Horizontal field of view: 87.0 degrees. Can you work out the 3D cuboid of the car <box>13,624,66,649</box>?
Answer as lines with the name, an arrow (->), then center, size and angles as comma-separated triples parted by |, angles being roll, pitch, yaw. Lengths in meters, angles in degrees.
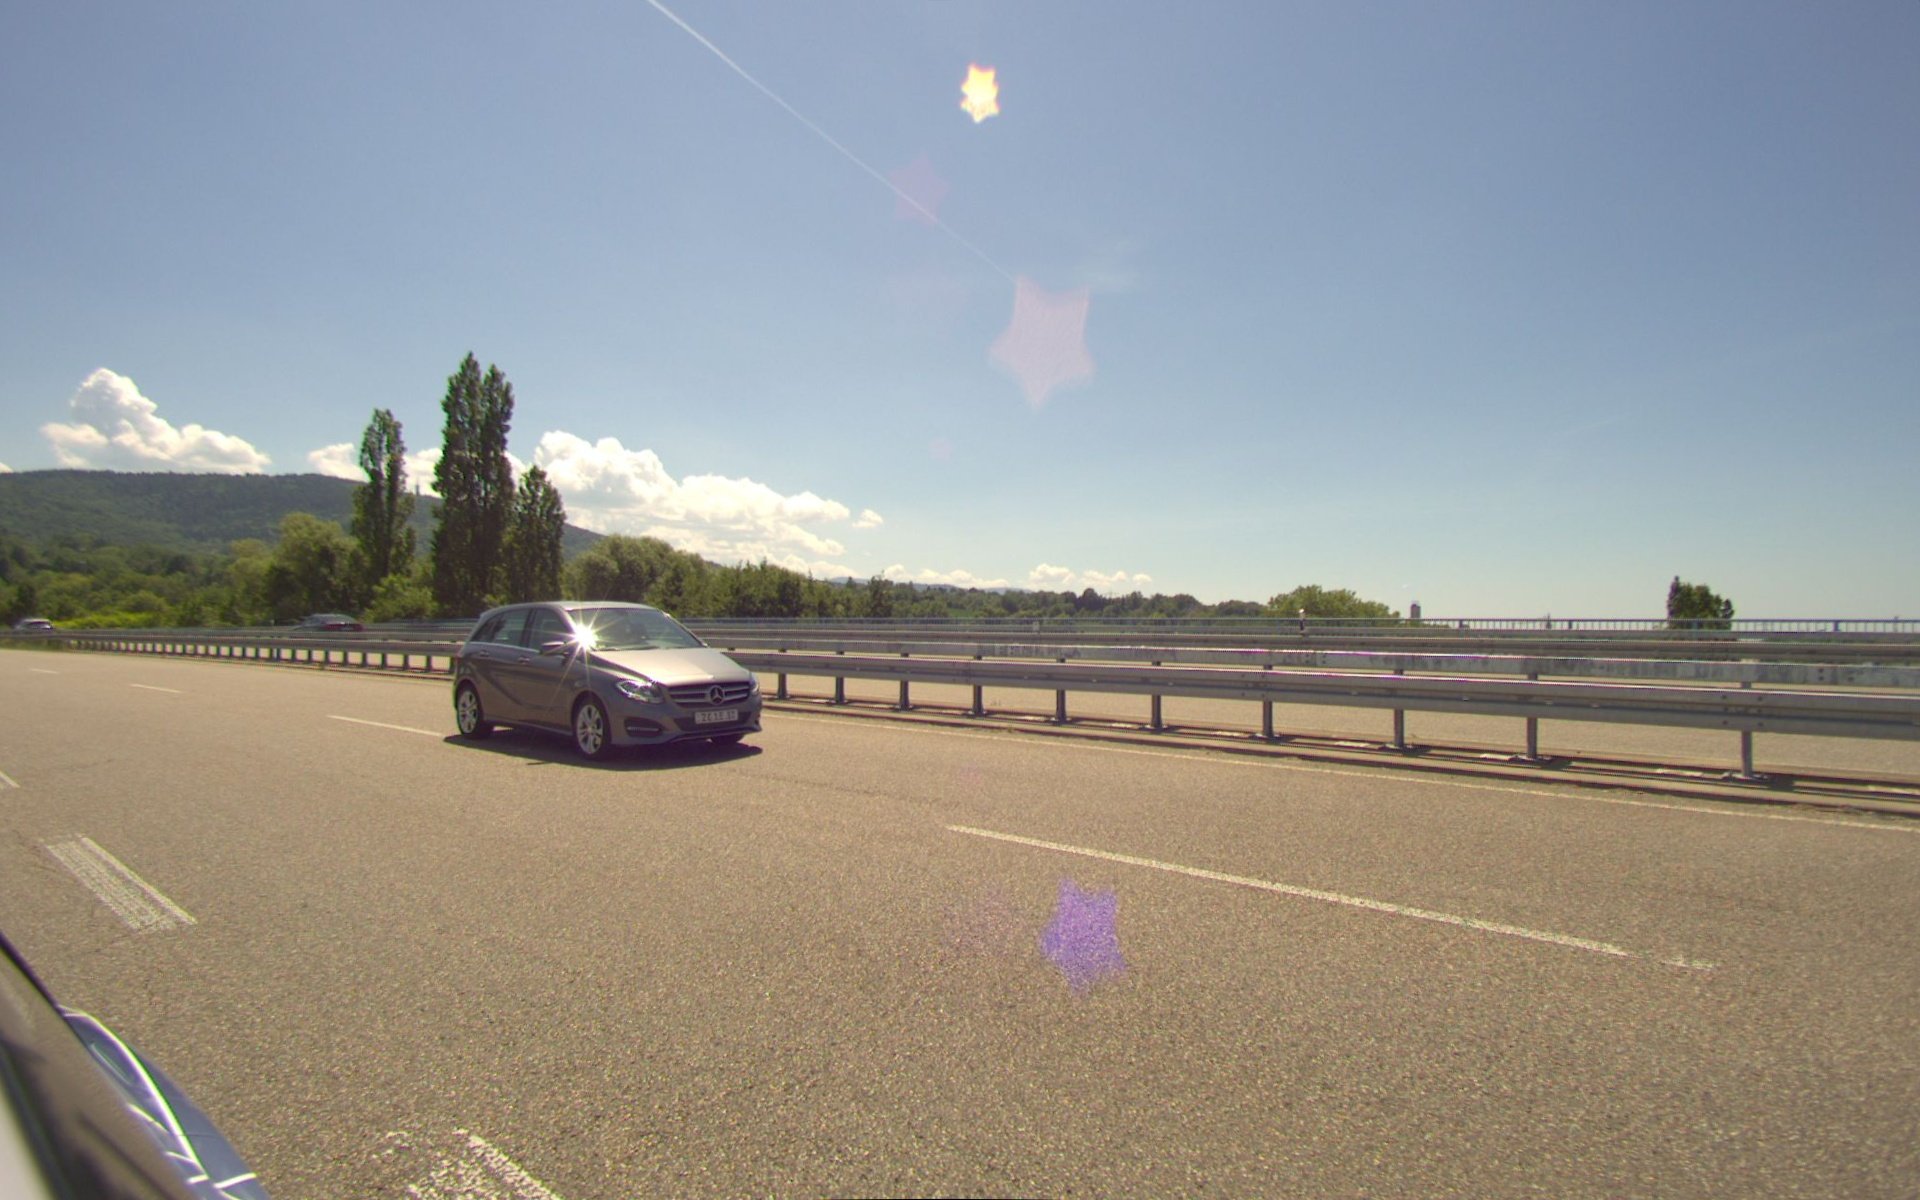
car -> -60.307, 2.369, 66.292 | 4.679, 1.516, 1.886 | -2, -1, 39

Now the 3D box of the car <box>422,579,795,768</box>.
car -> -4.016, 0.686, 11.160 | 4.550, 1.680, 1.775 | -1, 0, 39

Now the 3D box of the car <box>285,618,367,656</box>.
car -> -29.956, 1.698, 47.750 | 5.046, 1.680, 1.825 | 0, -1, 40
